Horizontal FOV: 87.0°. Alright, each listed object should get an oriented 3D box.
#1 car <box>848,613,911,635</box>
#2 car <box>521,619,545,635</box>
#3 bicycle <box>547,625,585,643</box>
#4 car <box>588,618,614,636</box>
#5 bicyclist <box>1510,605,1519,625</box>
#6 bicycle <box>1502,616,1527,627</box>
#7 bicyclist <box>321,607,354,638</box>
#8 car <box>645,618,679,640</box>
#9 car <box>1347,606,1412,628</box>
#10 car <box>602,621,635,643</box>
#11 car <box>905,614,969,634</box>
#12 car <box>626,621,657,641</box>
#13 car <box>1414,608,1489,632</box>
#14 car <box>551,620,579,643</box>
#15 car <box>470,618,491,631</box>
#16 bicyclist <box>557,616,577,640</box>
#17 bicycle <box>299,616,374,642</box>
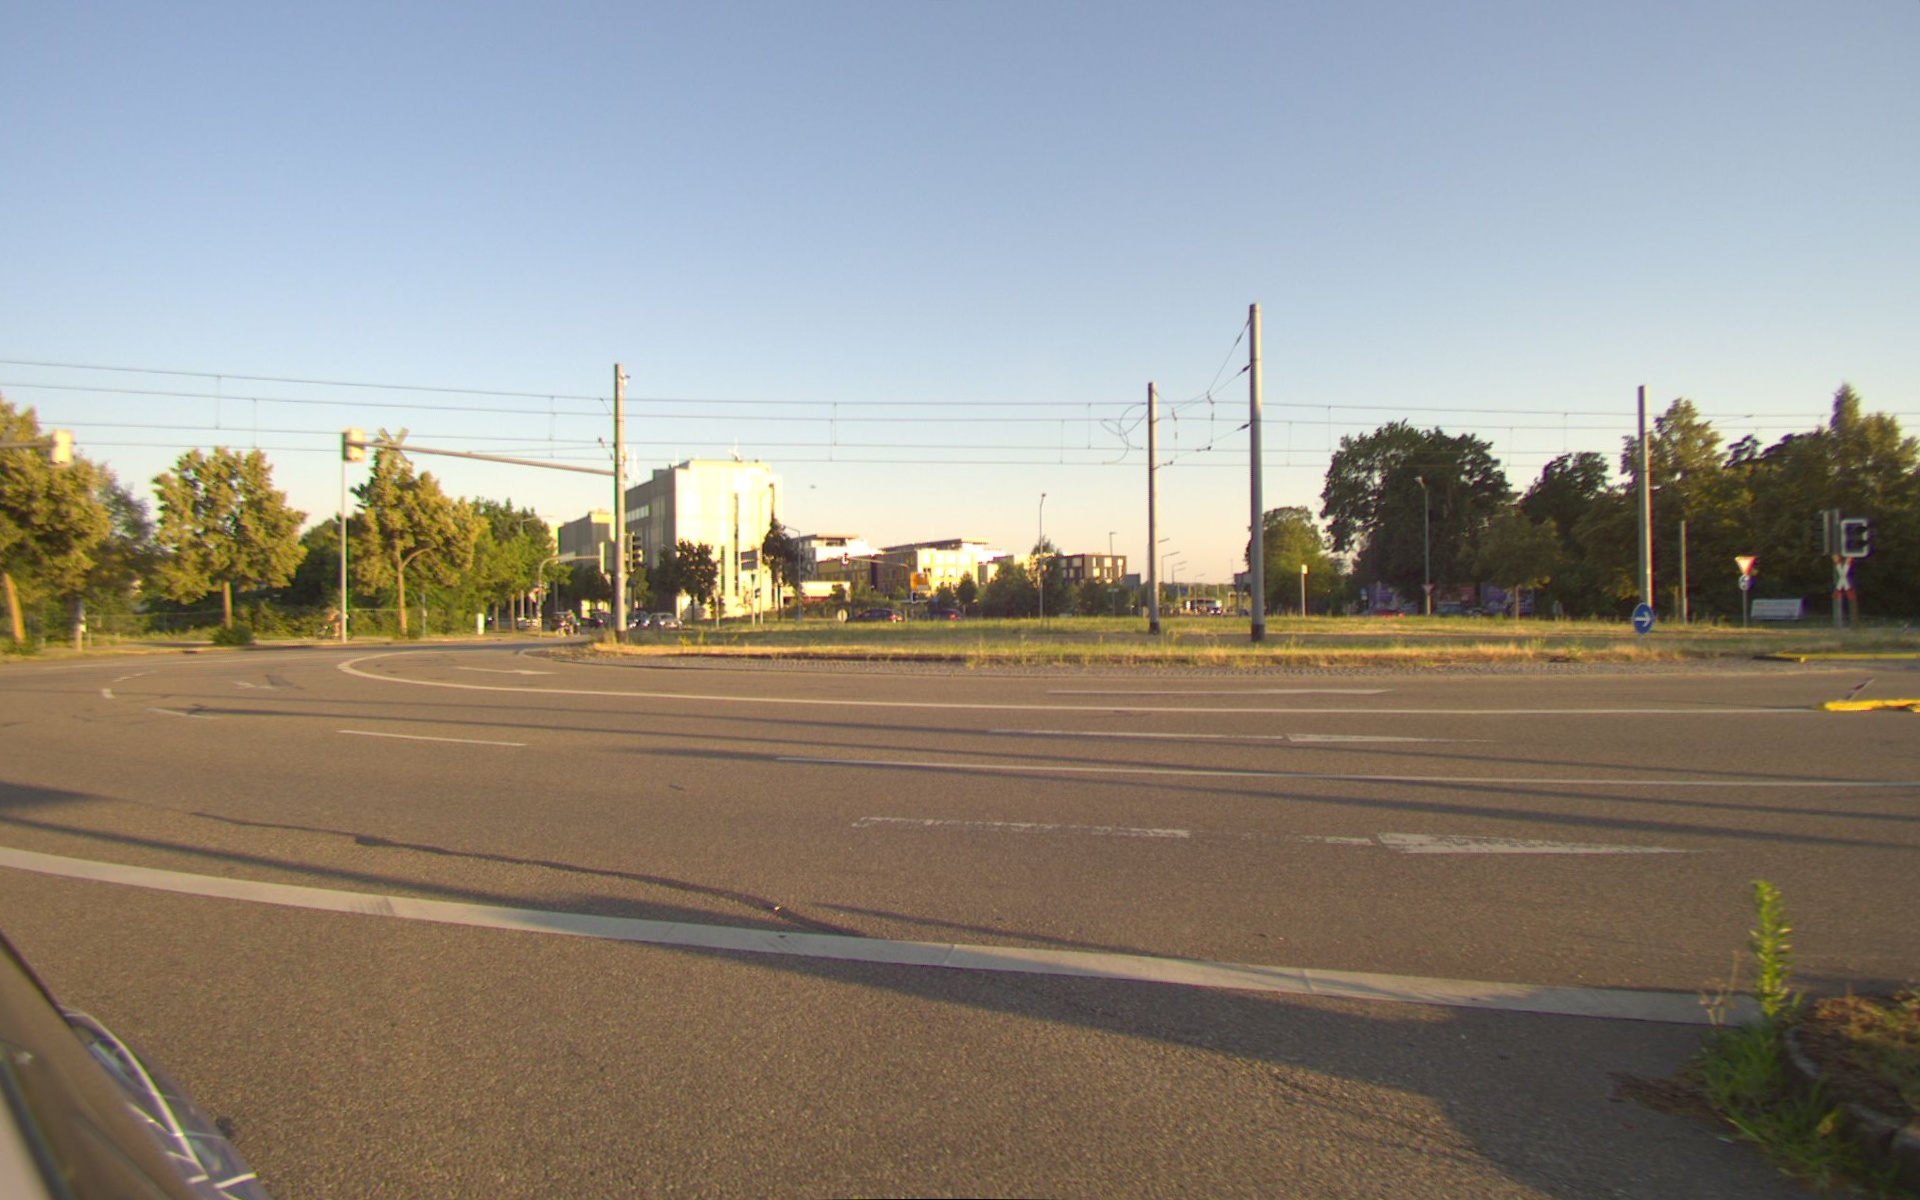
[{"bbox_3d":[-5.747,1.739,72.312,4.238,1.512,1.823,-1,-1,30],"label":"car"},{"bbox_3d":[-43.866,2.749,103.904,1.841,1.637,4.206,0,0,-30],"label":"car"},{"bbox_3d":[-26.927,2.299,69.212,0.811,1.188,2.295,-1,-1,44],"label":"bicycle"},{"bbox_3d":[-35.516,2.638,100.184,1.841,1.637,4.206,0,0,-28],"label":"car"},{"bbox_3d":[39.109,1.034,71.371,0.448,1.408,0.467,-2,-2,43],"label":"bicyclist"},{"bbox_3d":[39.110,1.503,71.377,1.419,0.797,0.467,-2,-2,43],"label":"bicycle"},{"bbox_3d":[-35.491,1.282,57.710,1.124,1.762,1.397,-1,-1,44],"label":"bicyclist"},{"bbox_3d":[-23.690,2.263,80.332,1.841,1.637,4.206,0,0,-27],"label":"car"},{"bbox_3d":[29.534,1.231,71.405,1.913,1.443,4.605,-1,-1,-11],"label":"car"},{"bbox_3d":[-27.256,2.513,80.728,1.841,1.637,4.206,0,0,-27],"label":"car"},{"bbox_3d":[-1.713,1.761,74.776,4.381,1.443,1.927,-2,-2,27],"label":"car"},{"bbox_3d":[-27.615,2.654,87.697,1.841,1.637,4.206,0,0,-27],"label":"car"},{"bbox_3d":[30.906,1.295,63.724,1.912,1.443,4.331,-1,-1,-13],"label":"car"},{"bbox_3d":[-32.918,2.602,84.322,1.841,1.763,3.864,0,0,-27],"label":"car"},{"bbox_3d":[-62.687,3.147,132.207,1.842,1.637,4.203,0,0,-35],"label":"car"},{"bbox_3d":[-26.883,1.899,69.249,0.811,1.645,0.986,-2,-1,45],"label":"bicyclist"},{"bbox_3d":[-35.529,1.629,57.695,1.124,1.406,3.488,-1,-1,44],"label":"bicycle"}]
